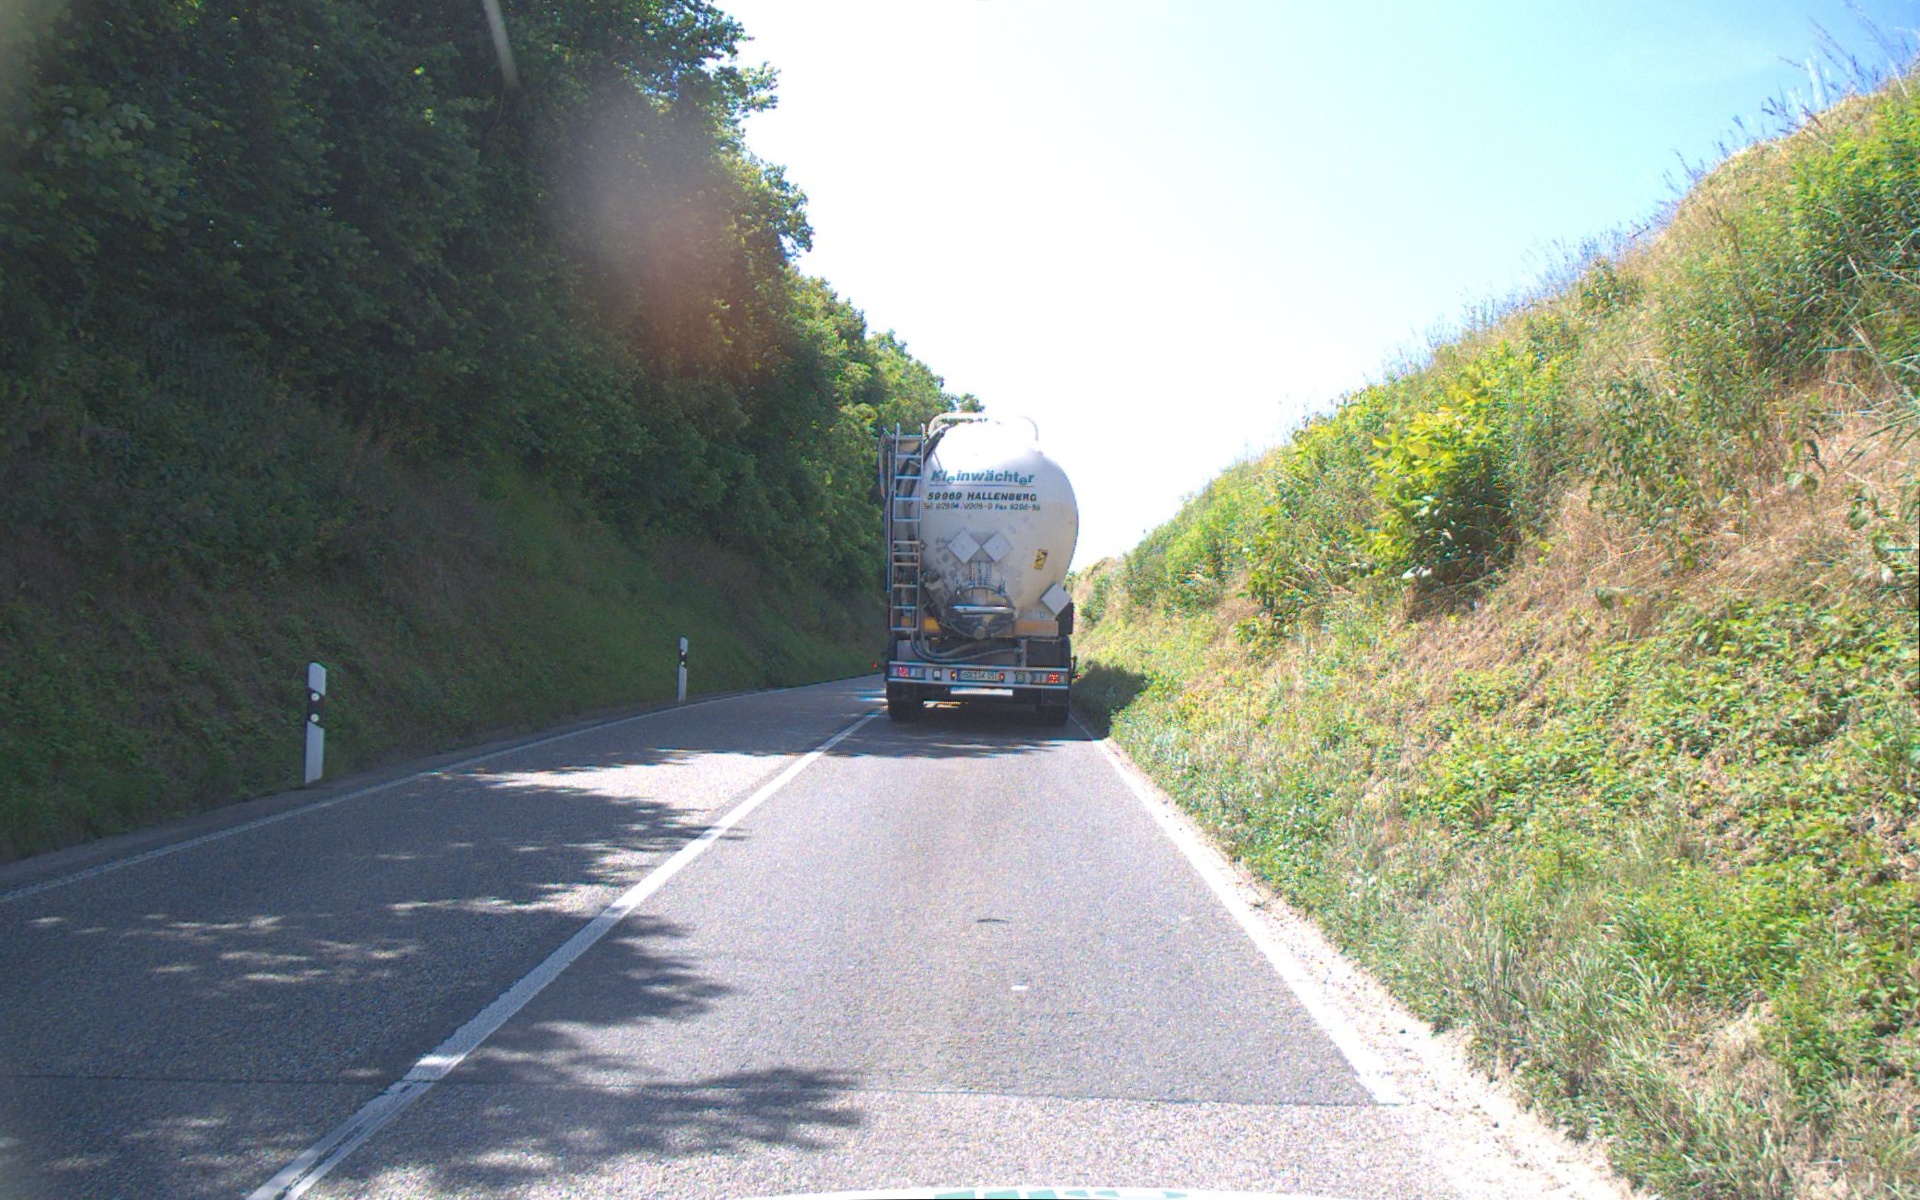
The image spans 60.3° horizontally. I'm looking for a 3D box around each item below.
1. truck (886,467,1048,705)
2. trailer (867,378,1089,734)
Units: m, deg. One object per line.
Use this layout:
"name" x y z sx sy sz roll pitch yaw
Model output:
"truck" 0.202 -0.122 31.871 2.670 3.999 7.263 1 -2 1
"trailer" 0.198 -0.427 25.957 2.607 4.262 11.902 1 -1 0
